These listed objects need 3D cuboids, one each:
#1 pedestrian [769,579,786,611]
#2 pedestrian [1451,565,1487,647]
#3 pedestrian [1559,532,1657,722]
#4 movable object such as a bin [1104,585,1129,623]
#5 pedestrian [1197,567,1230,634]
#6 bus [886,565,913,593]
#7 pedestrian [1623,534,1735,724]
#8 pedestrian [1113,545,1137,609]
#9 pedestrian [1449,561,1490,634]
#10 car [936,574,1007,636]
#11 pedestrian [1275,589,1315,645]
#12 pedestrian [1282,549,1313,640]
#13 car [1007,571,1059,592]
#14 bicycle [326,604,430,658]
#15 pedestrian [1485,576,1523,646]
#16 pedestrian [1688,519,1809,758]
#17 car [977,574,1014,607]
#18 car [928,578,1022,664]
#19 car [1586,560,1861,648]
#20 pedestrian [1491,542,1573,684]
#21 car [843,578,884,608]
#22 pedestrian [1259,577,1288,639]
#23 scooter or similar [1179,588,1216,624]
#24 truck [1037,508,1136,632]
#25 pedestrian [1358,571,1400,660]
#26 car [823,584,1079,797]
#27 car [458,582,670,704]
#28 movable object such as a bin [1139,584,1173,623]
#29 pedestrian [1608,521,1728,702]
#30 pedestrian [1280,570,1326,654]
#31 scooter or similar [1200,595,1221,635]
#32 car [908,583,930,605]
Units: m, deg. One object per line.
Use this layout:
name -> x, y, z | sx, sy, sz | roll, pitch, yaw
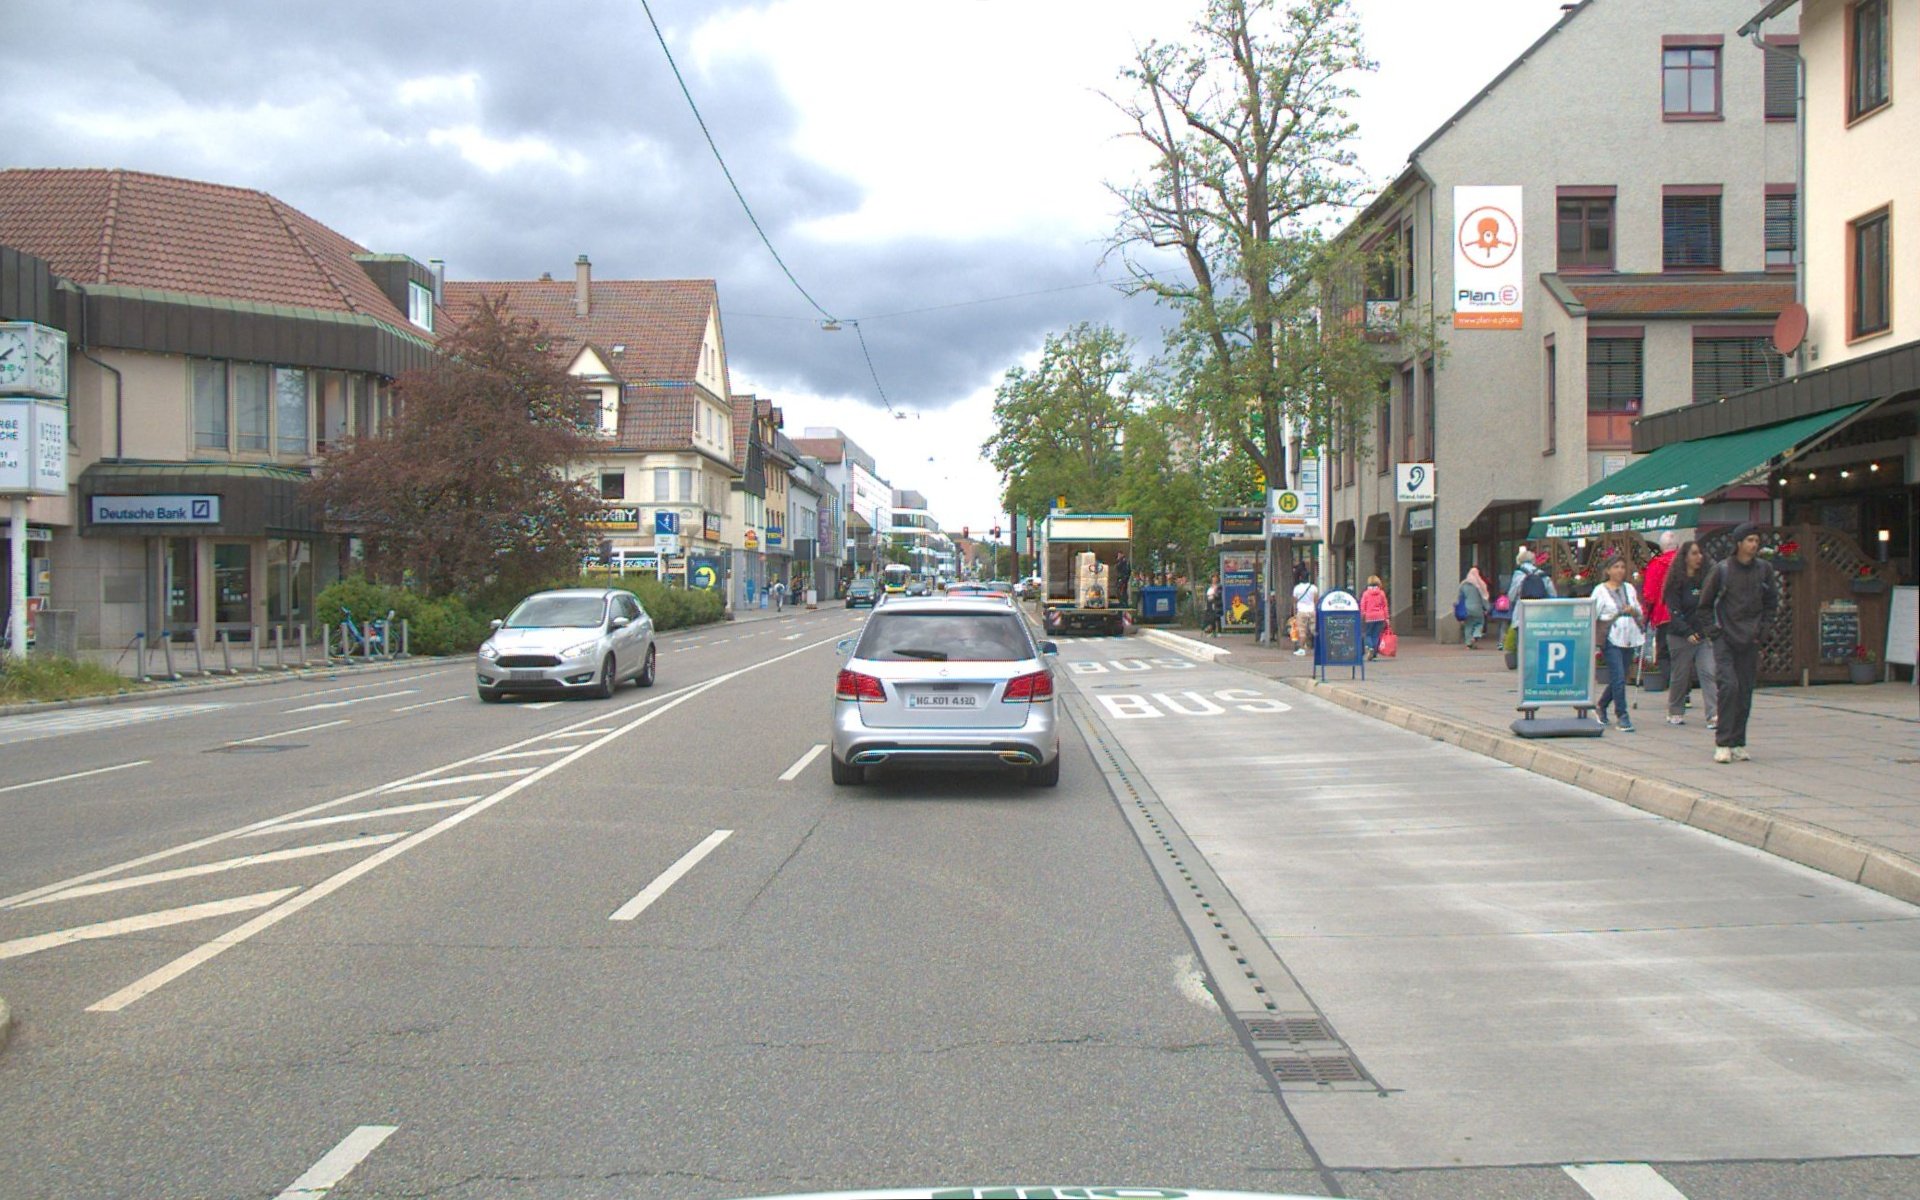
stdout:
pedestrian -> -9.926, -0.282, 89.896 | 0.800, 1.663, 0.979 | 2, 0, -4
pedestrian -> 10.445, 0.117, 33.939 | 0.574, 1.663, 0.615 | 0, 1, 2
pedestrian -> 5.845, 0.239, 14.932 | 0.600, 1.663, 0.615 | -1, 0, -2
movable object such as a bin -> 5.637, 0.139, 59.717 | 0.863, 1.363, 1.086 | -1, 0, 3
pedestrian -> 6.421, 0.011, 41.932 | 0.527, 1.663, 0.584 | 2, 1, -23
bus -> -7.096, -2.446, 194.473 | 2.717, 3.220, 5.934 | 0, 1, 2
pedestrian -> 6.494, 0.257, 14.958 | 0.704, 1.663, 0.615 | -1, 0, -2
pedestrian -> 4.748, -0.653, 47.602 | 0.600, 1.811, 0.587 | -1, -1, -2
pedestrian -> 11.666, -0.061, 37.848 | 0.712, 1.663, 0.614 | 0, 1, -7
car -> 0.373, 0.105, 48.064 | 1.952, 1.713, 4.001 | 0, 1, 2
pedestrian -> 7.244, 0.371, 35.764 | 0.698, 1.186, 0.587 | 0, 1, -5
pedestrian -> 7.843, -0.134, 38.394 | 0.600, 2.082, 0.588 | -2, 0, 14
car -> 7.566, -1.897, 171.789 | 5.035, 1.995, 1.961 | -2, 0, -13
bicycle -> -12.359, 0.658, 35.176 | 1.980, 1.109, 0.648 | 0, 0, -9
pedestrian -> 10.961, 0.218, 33.329 | 0.574, 1.399, 0.615 | 0, 1, 3
pedestrian -> 5.785, 0.272, 12.159 | 0.599, 1.707, 0.615 | -1, 1, 3
car -> 1.924, -0.508, 88.706 | 1.952, 1.713, 4.001 | 0, 1, 2
car -> 0.346, 0.438, 32.300 | 1.718, 1.547, 4.000 | -1, -1, 2
car -> 14.787, 0.069, 32.230 | 4.507, 1.648, 1.881 | 0, 0, 5
pedestrian -> 7.352, 0.170, 21.275 | 0.669, 1.772, 0.781 | -2, -1, -4
car -> -6.026, -0.456, 103.693 | 2.026, 1.768, 4.695 | -2, 1, 3
pedestrian -> 7.449, 0.188, 39.316 | 0.600, 1.425, 0.588 | -2, 0, 14
scooter or similar -> 8.067, 0.200, 56.272 | 1.153, 1.217, 0.459 | -1, 0, -8
truck -> 3.916, -0.948, 53.250 | 2.633, 3.623, 9.768 | 0, 1, 1
pedestrian -> 7.677, 0.273, 30.310 | 0.658, 1.594, 0.492 | 1, 2, 21
car -> -0.077, 0.637, 13.941 | 1.836, 1.532, 4.000 | 0, 0, 0
car -> -5.545, 0.553, 23.729 | 1.835, 1.532, 4.344 | -2, 0, 2
movable object such as a bin -> 7.024, 0.116, 59.478 | 1.119, 1.363, 1.376 | -1, 0, 3
pedestrian -> 7.197, 0.120, 16.835 | 0.779, 1.772, 0.781 | -2, -1, -4
pedestrian -> 6.926, 0.225, 33.432 | 0.604, 1.663, 0.789 | -1, 1, -20
scooter or similar -> 6.302, 0.371, 41.542 | 0.381, 0.975, 0.350 | -1, 1, -40
car -> -2.990, -0.450, 121.034 | 1.538, 1.567, 2.960 | 2, 0, -1
